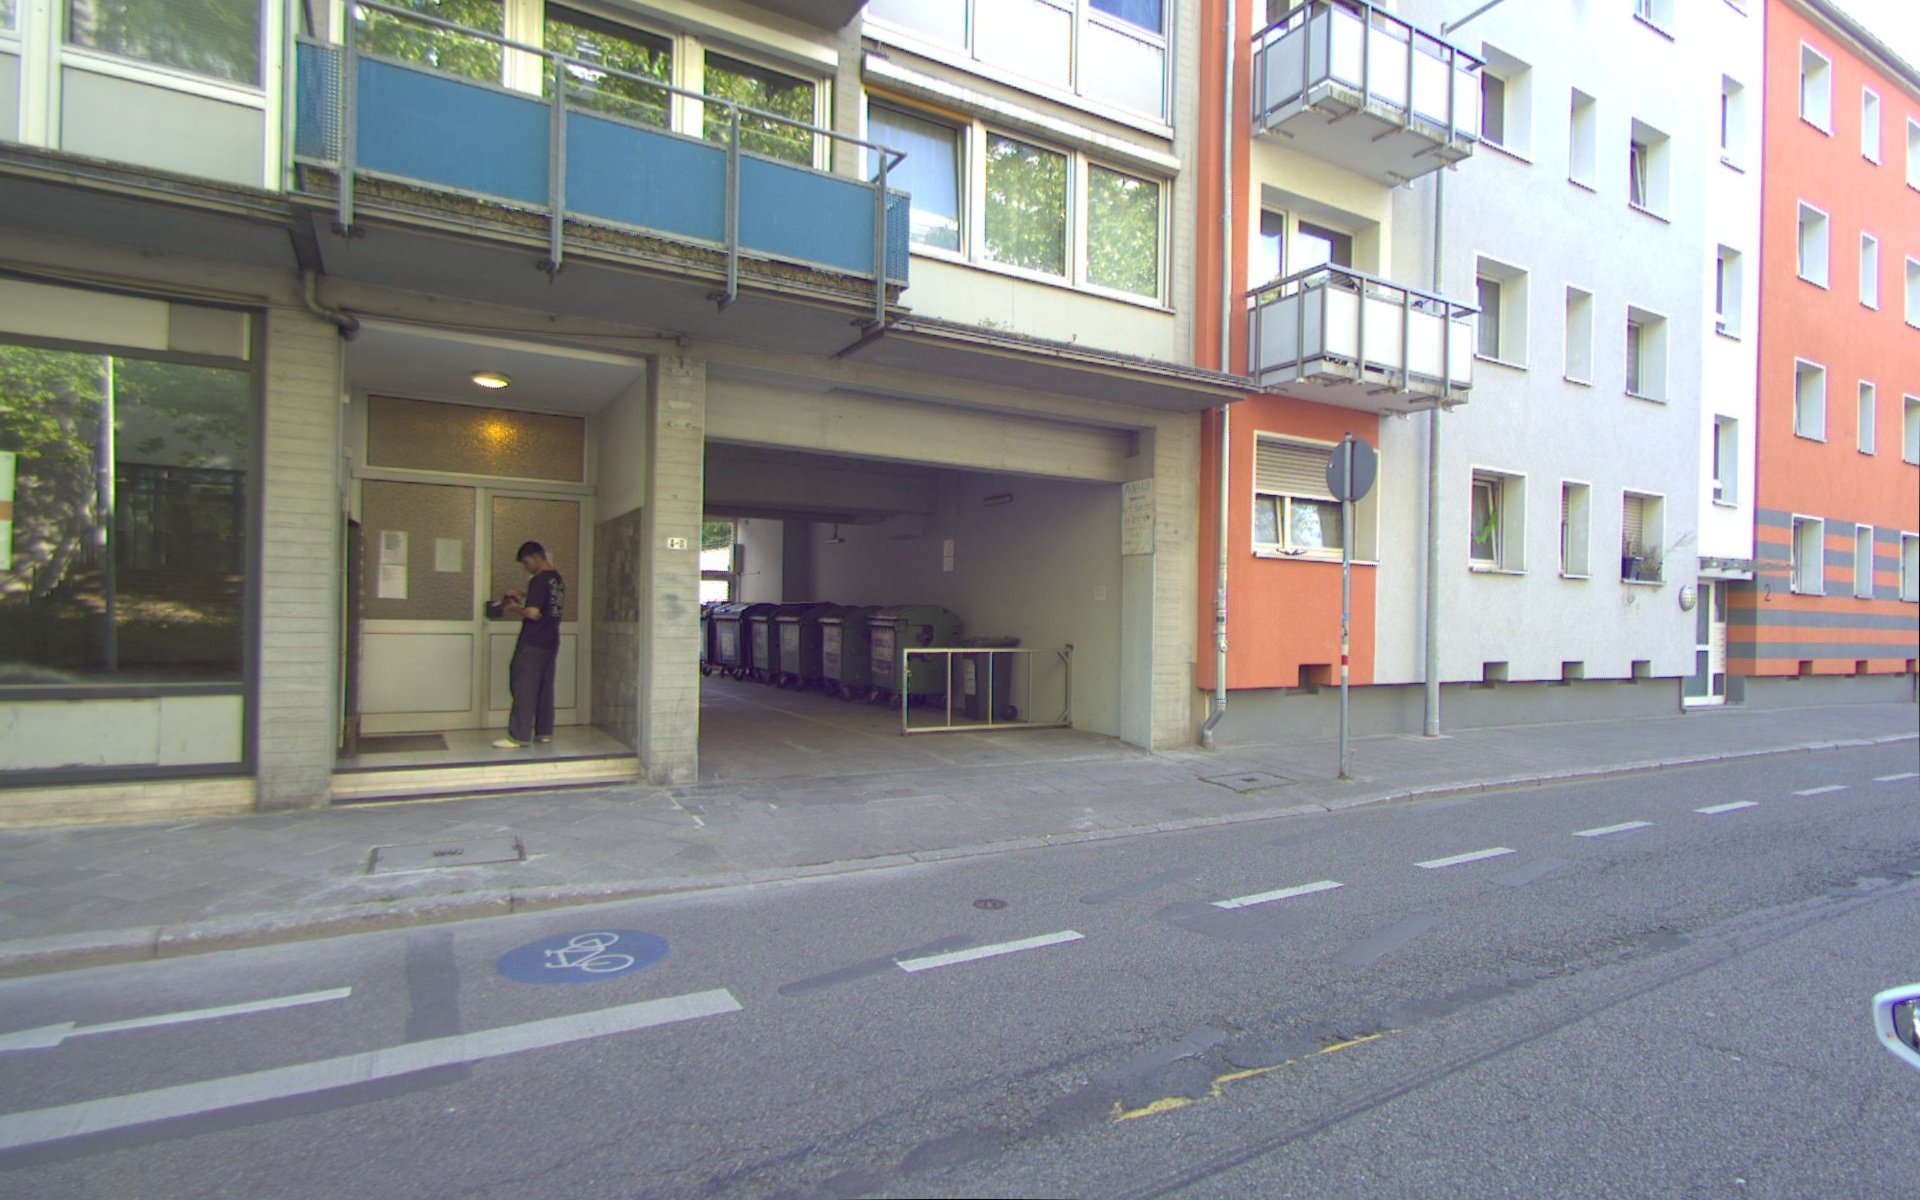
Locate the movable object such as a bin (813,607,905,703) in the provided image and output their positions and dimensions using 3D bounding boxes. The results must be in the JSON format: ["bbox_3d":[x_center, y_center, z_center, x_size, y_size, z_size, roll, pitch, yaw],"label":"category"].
[{"bbox_3d":[-1.588,0.832,15.648,1.011,1.409,1.319,1,0,-27],"label":"movable object such as a bin"}]

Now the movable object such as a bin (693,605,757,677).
[{"bbox_3d":[-4.842,0.826,20.615,1.010,1.409,1.246,1,0,-26],"label":"movable object such as a bin"}]

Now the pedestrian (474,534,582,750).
[{"bbox_3d":[-3.682,0.343,8.584,0.518,1.764,0.630,1,0,27],"label":"pedestrian"}]

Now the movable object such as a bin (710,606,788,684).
[{"bbox_3d":[-4.031,0.831,19.159,1.014,1.409,1.264,1,0,-37],"label":"movable object such as a bin"}]

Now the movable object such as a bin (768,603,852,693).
[{"bbox_3d":[-2.576,0.792,17.169,1.011,1.462,1.317,1,0,-29],"label":"movable object such as a bin"}]

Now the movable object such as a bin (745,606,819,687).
[{"bbox_3d":[-3.235,0.819,18.206,1.012,1.409,1.046,1,0,-31],"label":"movable object such as a bin"}]

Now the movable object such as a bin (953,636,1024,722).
[{"bbox_3d":[0.366,1.005,12.996,0.704,1.054,0.583,1,0,-30],"label":"movable object such as a bin"}]

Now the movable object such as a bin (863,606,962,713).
[{"bbox_3d":[-0.702,0.815,14.339,1.009,1.438,1.321,1,0,-23],"label":"movable object such as a bin"}]
